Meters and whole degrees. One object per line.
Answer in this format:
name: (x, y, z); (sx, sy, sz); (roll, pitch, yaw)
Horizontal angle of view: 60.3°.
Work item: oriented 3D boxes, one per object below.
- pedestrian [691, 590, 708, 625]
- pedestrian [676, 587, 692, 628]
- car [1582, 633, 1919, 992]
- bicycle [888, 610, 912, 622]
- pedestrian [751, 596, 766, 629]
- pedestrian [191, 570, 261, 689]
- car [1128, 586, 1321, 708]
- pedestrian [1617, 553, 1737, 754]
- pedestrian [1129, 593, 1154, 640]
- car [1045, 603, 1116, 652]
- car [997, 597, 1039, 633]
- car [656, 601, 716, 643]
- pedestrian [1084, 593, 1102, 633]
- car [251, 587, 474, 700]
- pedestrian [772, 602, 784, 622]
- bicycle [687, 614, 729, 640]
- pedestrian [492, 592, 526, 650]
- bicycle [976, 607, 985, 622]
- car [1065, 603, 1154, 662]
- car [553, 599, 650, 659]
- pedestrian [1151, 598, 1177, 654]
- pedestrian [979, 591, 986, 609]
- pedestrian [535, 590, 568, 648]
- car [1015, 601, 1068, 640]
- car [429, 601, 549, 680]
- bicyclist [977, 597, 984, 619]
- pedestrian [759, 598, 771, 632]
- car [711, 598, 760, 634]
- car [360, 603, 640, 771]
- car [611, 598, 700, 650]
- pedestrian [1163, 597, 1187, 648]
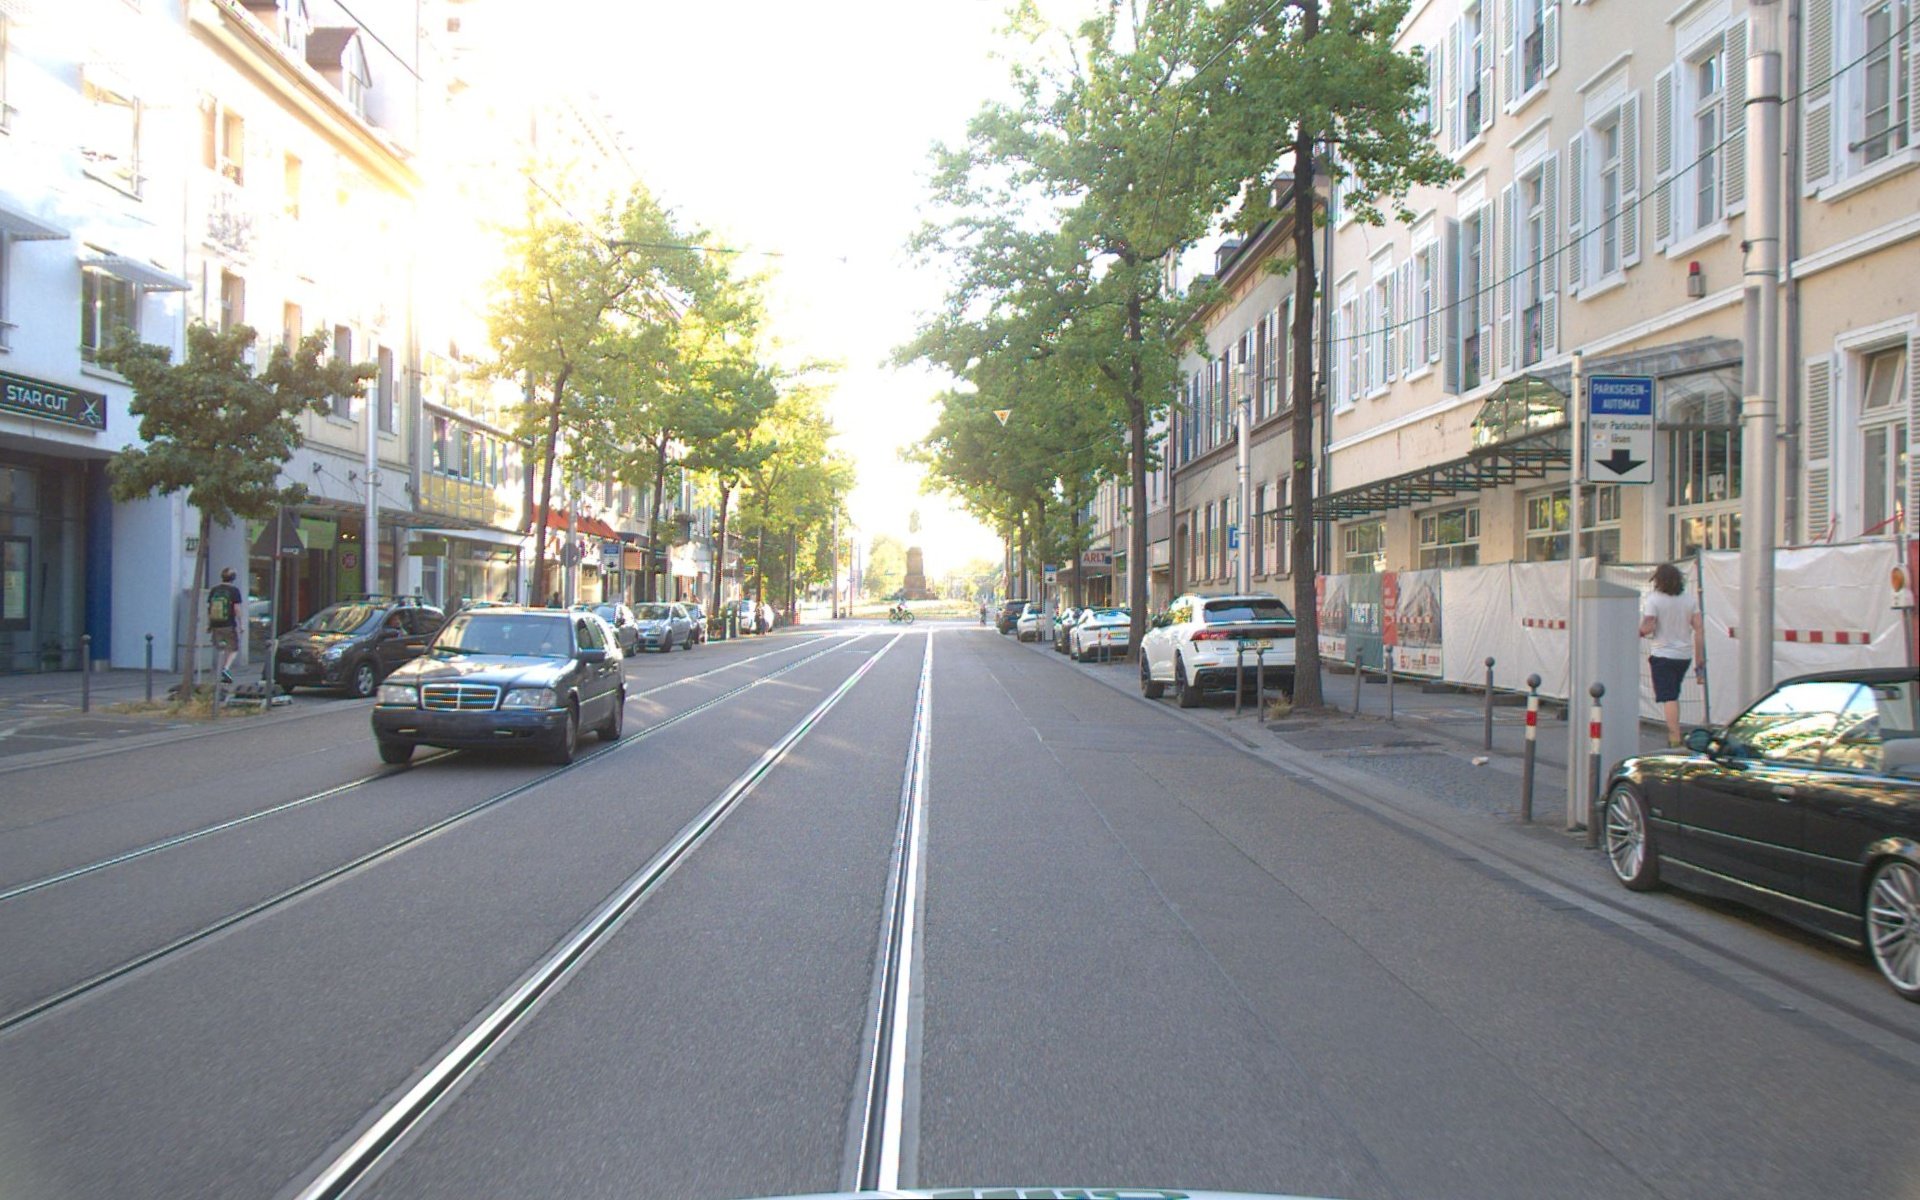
pedestrian: (-13.223, 0.377, 83.869); (0.707, 1.791, 1.090); (0, 0, -1)
pedestrian: (-13.988, 0.374, 83.859); (0.707, 2.049, 0.642); (0, 0, -1)
car: (4.699, 0.888, 7.899); (1.758, 1.334, 4.328); (-2, 0, -1)
bicycle: (-4.309, 1.165, 118.690); (1.694, 0.880, 0.367); (0, 0, 8)
pedestrian: (-9.616, 0.595, 78.933); (0.607, 1.536, 0.729); (0, 0, -1)
pedestrian: (-11.859, 0.464, 26.741); (0.646, 1.857, 0.878); (3, 0, -1)
car: (4.121, 0.715, 26.653); (1.958, 1.717, 4.963); (-2, -1, -4)
pedestrian: (7.128, 0.517, 16.486); (0.698, 1.920, 1.052); (-1, 0, -1)
pedestrian: (7.043, 0.643, 64.325); (0.840, 1.784, 0.932); (0, 0, -1)
car: (3.912, 0.866, 54.280); (1.796, 1.504, 4.760); (-2, 0, -2)
car: (3.063, 0.773, 88.146); (1.899, 1.790, 4.678); (-3, 0, -1)
car: (-10.297, 0.821, 62.379); (1.632, 1.453, 3.826); (3, 0, -2)
pedestrian: (5.906, 0.570, 73.375); (0.630, 1.699, 0.786); (-3, 0, -1)
car: (-9.646, 0.667, 26.992); (1.595, 1.644, 3.711); (2, 0, 14)
pedestrian: (-11.572, 0.762, 105.087); (0.713, 1.313, 0.856); (0, 0, -4)
bicycle: (-10.114, 1.081, 66.455); (1.582, 0.982, 0.433); (2, 0, 4)
pedestrian: (-13.508, 0.621, 49.567); (0.773, 1.723, 0.913); (0, 0, -2)
bicycle: (1.410, 1.011, 114.246); (0.258, 1.000, 1.339); (0, 0, 16)
car: (3.982, 0.831, 44.859); (1.873, 1.445, 4.887); (-2, 0, -1)
car: (-9.772, 0.761, 45.380); (1.677, 1.486, 4.485); (2, 0, -1)
pedestrian: (5.929, 0.759, 47.998); (0.636, 1.601, 0.798); (0, 0, -1)
pedestrian: (2.085, 0.036, 151.558); (0.623, 1.634, 0.771); (0, 0, -4)
pedestrian: (-12.319, 0.572, 49.874); (0.827, 1.723, 0.740); (0, 0, -2)
car: (3.441, 0.840, 70.596); (1.953, 1.524, 4.679); (-3, 0, 0)
car: (-9.922, 0.809, 35.113); (1.758, 1.516, 4.236); (2, 0, -7)
bicyclist: (1.412, 0.530, 114.273); (0.419, 1.507, 0.466); (0, 0, 16)
pedestrian: (-9.395, 0.724, 79.848); (0.510, 1.596, 0.633); (0, -1, -1)
car: (-11.100, 0.788, 81.862); (1.799, 1.607, 4.115); (4, 0, -1)
car: (-4.397, 0.756, 16.523); (1.743, 1.432, 4.525); (0, 0, -3)
car: (-9.447, 0.739, 51.597); (1.730, 1.523, 4.176); (1, -1, 4)
pedestrian: (7.098, 0.739, 54.649); (0.644, 1.694, 0.888); (0, 0, -2)
